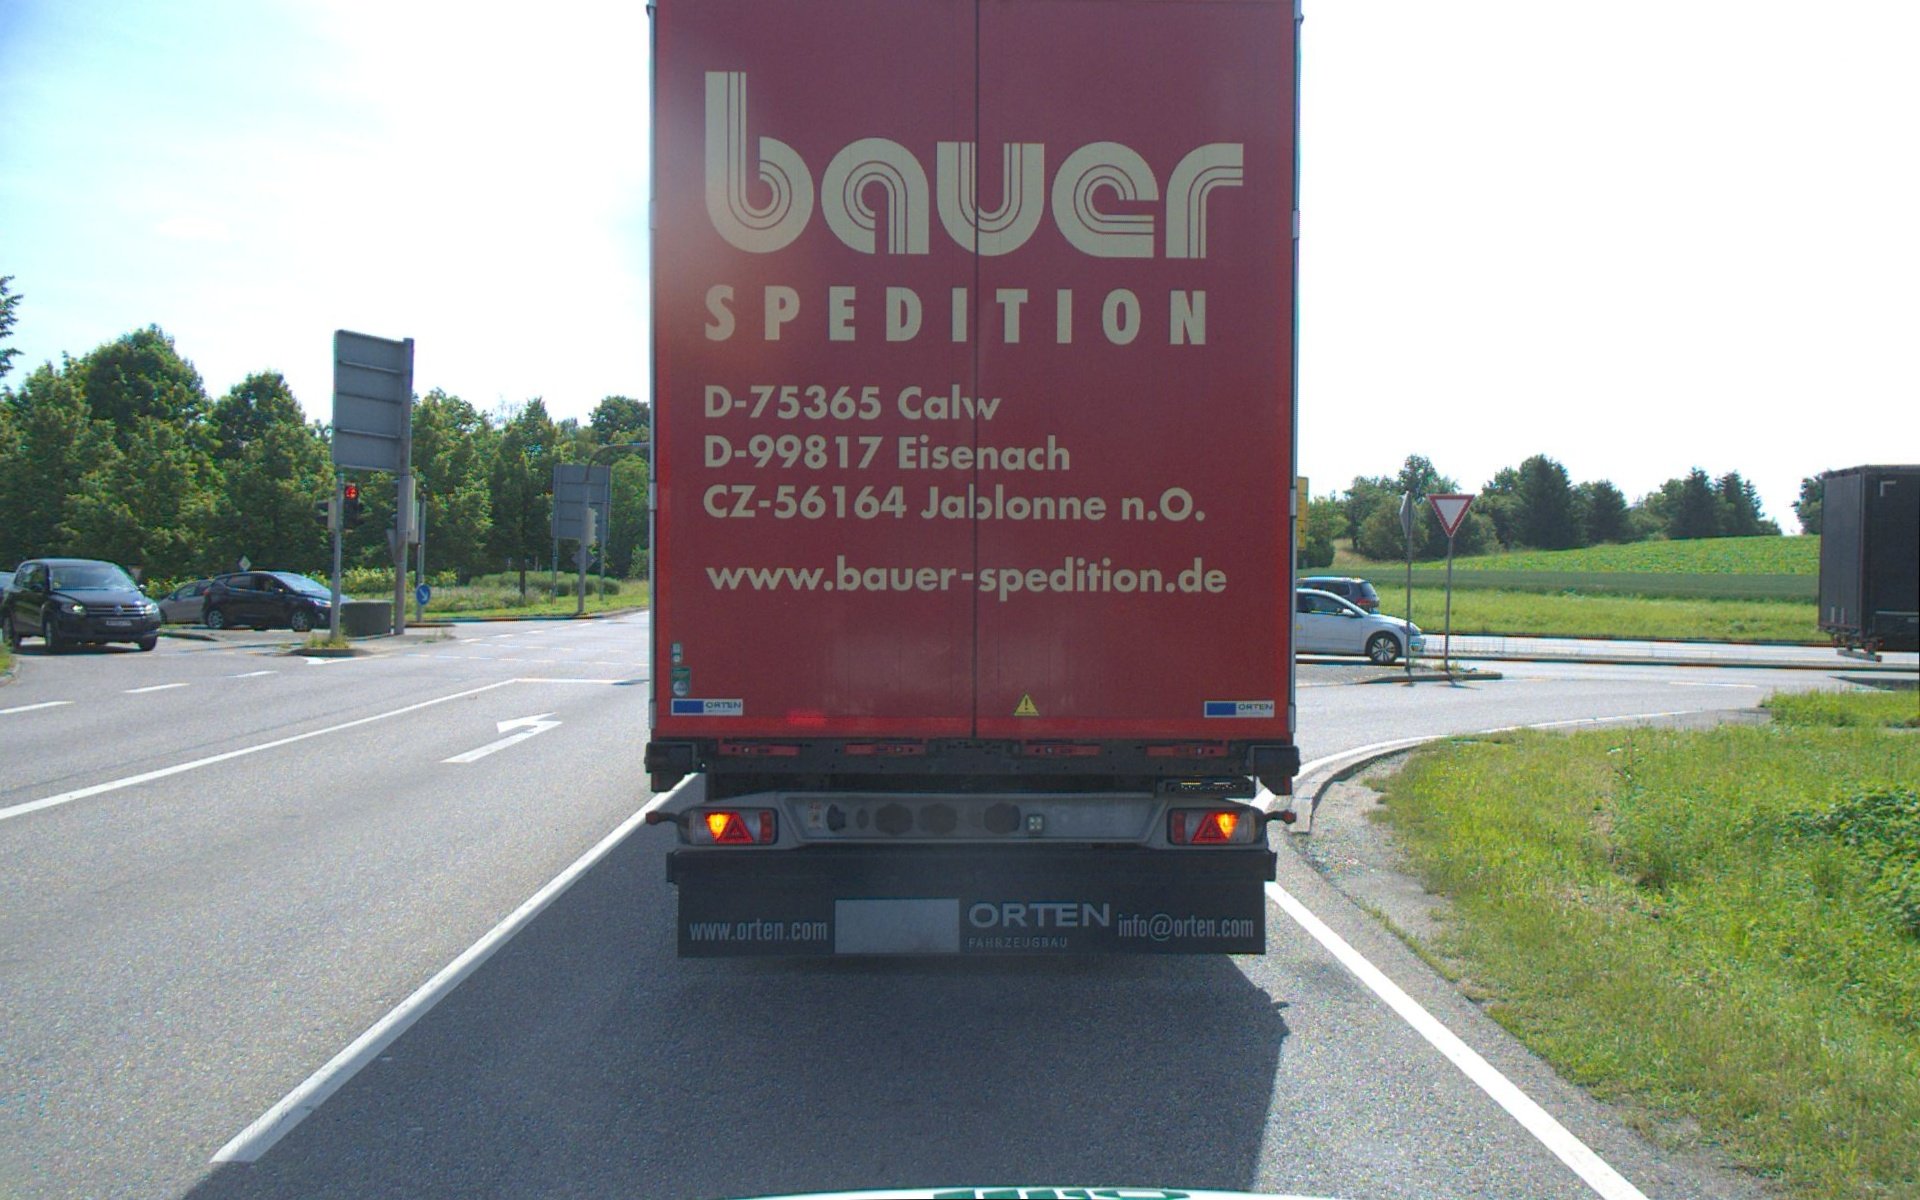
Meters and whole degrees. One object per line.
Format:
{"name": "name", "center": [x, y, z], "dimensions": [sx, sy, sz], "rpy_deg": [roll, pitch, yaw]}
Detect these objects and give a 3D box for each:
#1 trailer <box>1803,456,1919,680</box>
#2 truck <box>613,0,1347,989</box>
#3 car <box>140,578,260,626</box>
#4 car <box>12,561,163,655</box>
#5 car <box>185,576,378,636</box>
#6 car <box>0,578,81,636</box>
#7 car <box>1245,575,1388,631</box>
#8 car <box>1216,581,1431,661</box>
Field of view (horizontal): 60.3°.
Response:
{"name": "trailer", "center": [23.439, -0.494, 30.866], "dimensions": [13.392, 4.132, 2.801], "rpy_deg": [1, 1, 10]}
{"name": "truck", "center": [-0.075, -0.655, 14.432], "dimensions": [2.679, 3.993, 16.622], "rpy_deg": [1, 1, -1]}
{"name": "car", "center": [-25.156, 0.074, 54.720], "dimensions": [3.919, 1.517, 1.535], "rpy_deg": [1, -1, 28]}
{"name": "car", "center": [-16.277, 0.099, 30.765], "dimensions": [1.791, 1.625, 4.211], "rpy_deg": [-1, 1, -38]}
{"name": "car", "center": [-16.398, 0.145, 40.003], "dimensions": [4.178, 1.328, 1.742], "rpy_deg": [1, 0, 19]}
{"name": "car", "center": [-25.275, 0.141, 43.274], "dimensions": [4.180, 1.454, 1.741], "rpy_deg": [1, 0, 22]}
{"name": "car", "center": [10.809, 0.077, 50.280], "dimensions": [3.919, 1.624, 1.659], "rpy_deg": [1, 0, 35]}
{"name": "car", "center": [7.401, 0.400, 33.830], "dimensions": [4.156, 1.486, 1.811], "rpy_deg": [1, 1, 12]}
